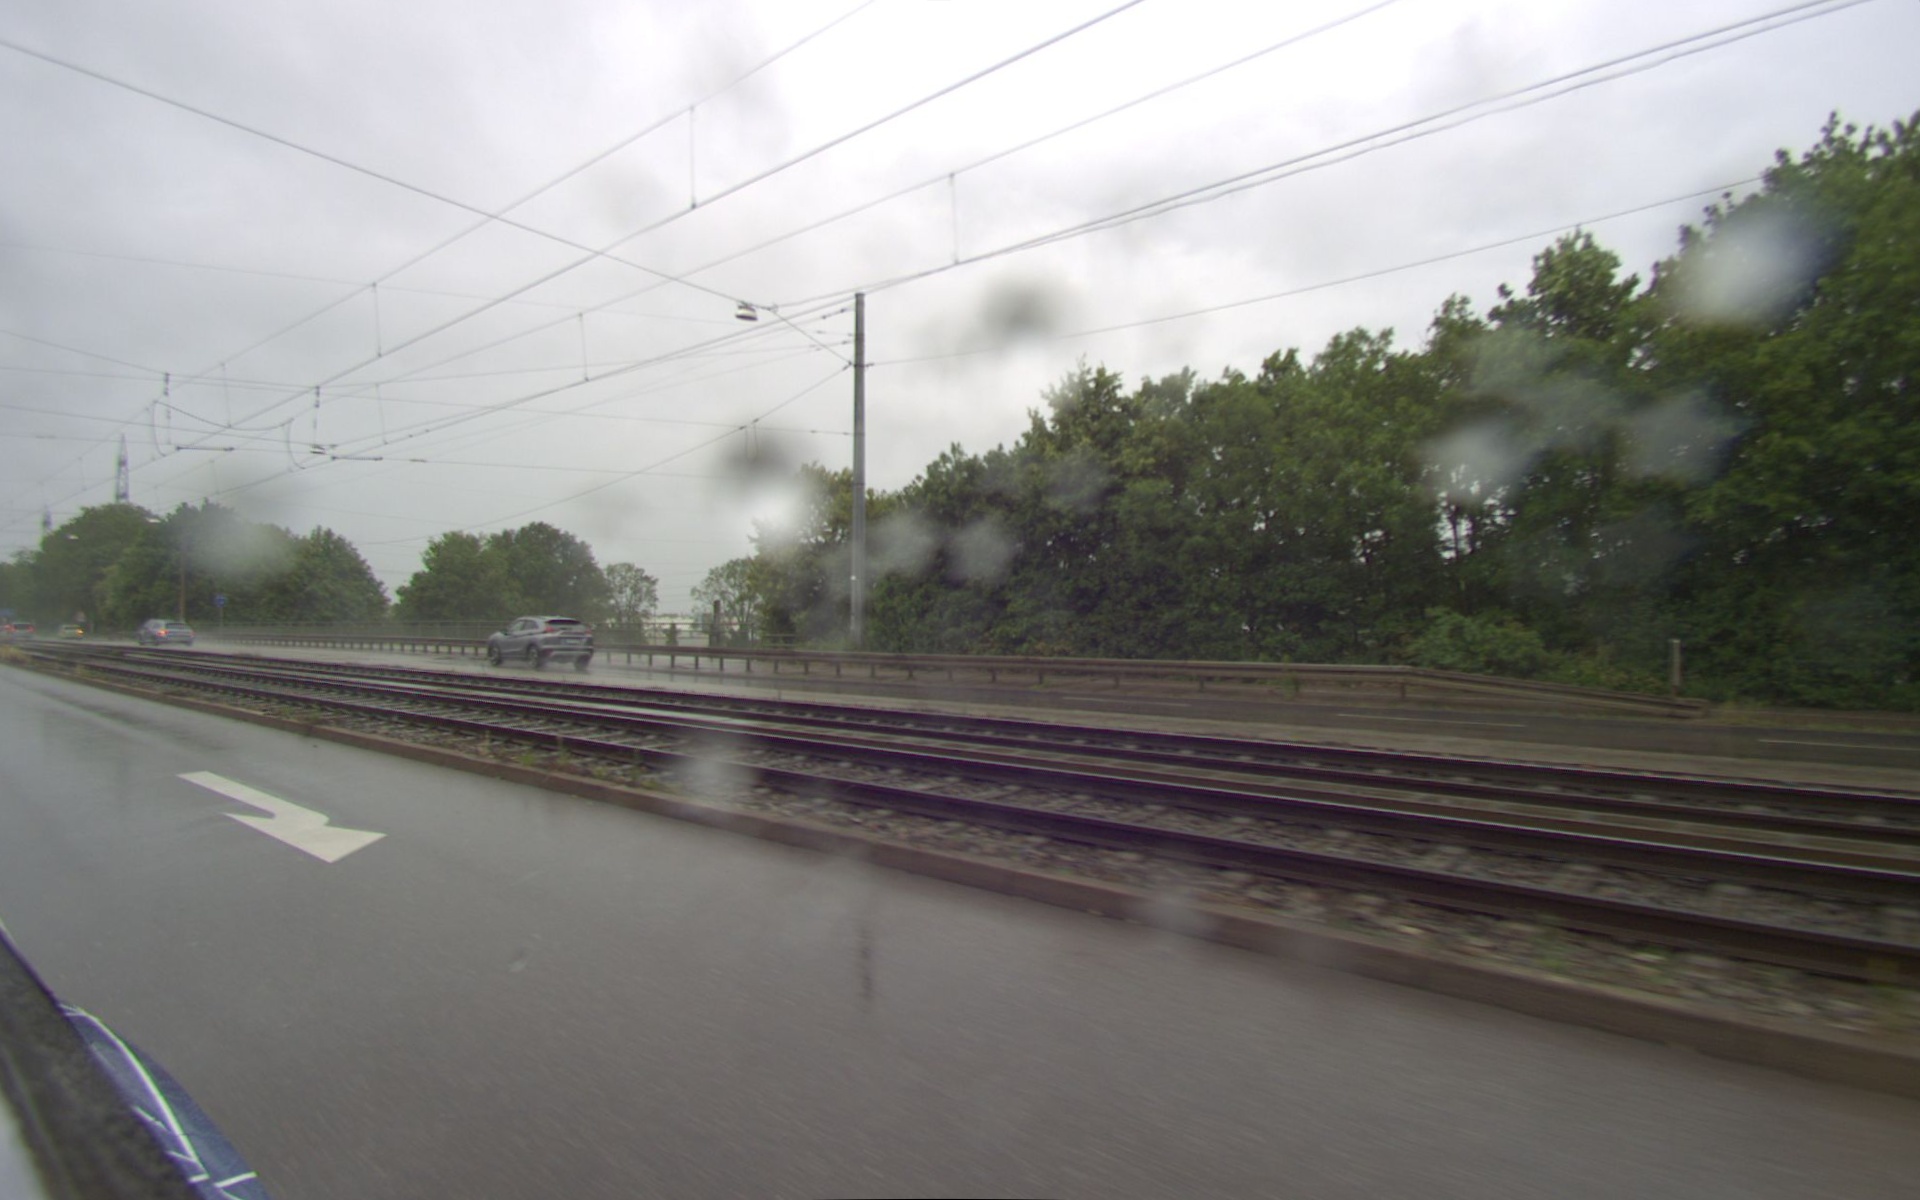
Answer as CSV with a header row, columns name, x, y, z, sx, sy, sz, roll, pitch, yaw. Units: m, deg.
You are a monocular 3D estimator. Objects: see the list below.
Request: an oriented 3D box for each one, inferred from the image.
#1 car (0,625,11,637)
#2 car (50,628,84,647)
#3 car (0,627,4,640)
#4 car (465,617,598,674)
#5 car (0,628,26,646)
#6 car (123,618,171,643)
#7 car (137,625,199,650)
name,x,y,z,sx,sy,sz,roll,pitch,yaw
car,-138.396,4.500,145.924,4.659,1.724,1.813,-1,-4,41
car,-81.108,3.369,91.923,3.998,1.606,1.827,-1,-1,41
car,-123.837,4.297,129.423,3.998,1.630,1.973,-1,-2,41
car,-13.902,1.427,32.695,4.868,1.685,1.973,-2,-2,40
car,-103.703,4.022,110.605,4.392,1.845,1.829,-1,2,41
car,-54.671,2.030,68.031,4.383,1.586,1.822,-1,-1,41
car,-46.971,2.205,59.981,4.849,1.399,1.973,-2,-2,40
